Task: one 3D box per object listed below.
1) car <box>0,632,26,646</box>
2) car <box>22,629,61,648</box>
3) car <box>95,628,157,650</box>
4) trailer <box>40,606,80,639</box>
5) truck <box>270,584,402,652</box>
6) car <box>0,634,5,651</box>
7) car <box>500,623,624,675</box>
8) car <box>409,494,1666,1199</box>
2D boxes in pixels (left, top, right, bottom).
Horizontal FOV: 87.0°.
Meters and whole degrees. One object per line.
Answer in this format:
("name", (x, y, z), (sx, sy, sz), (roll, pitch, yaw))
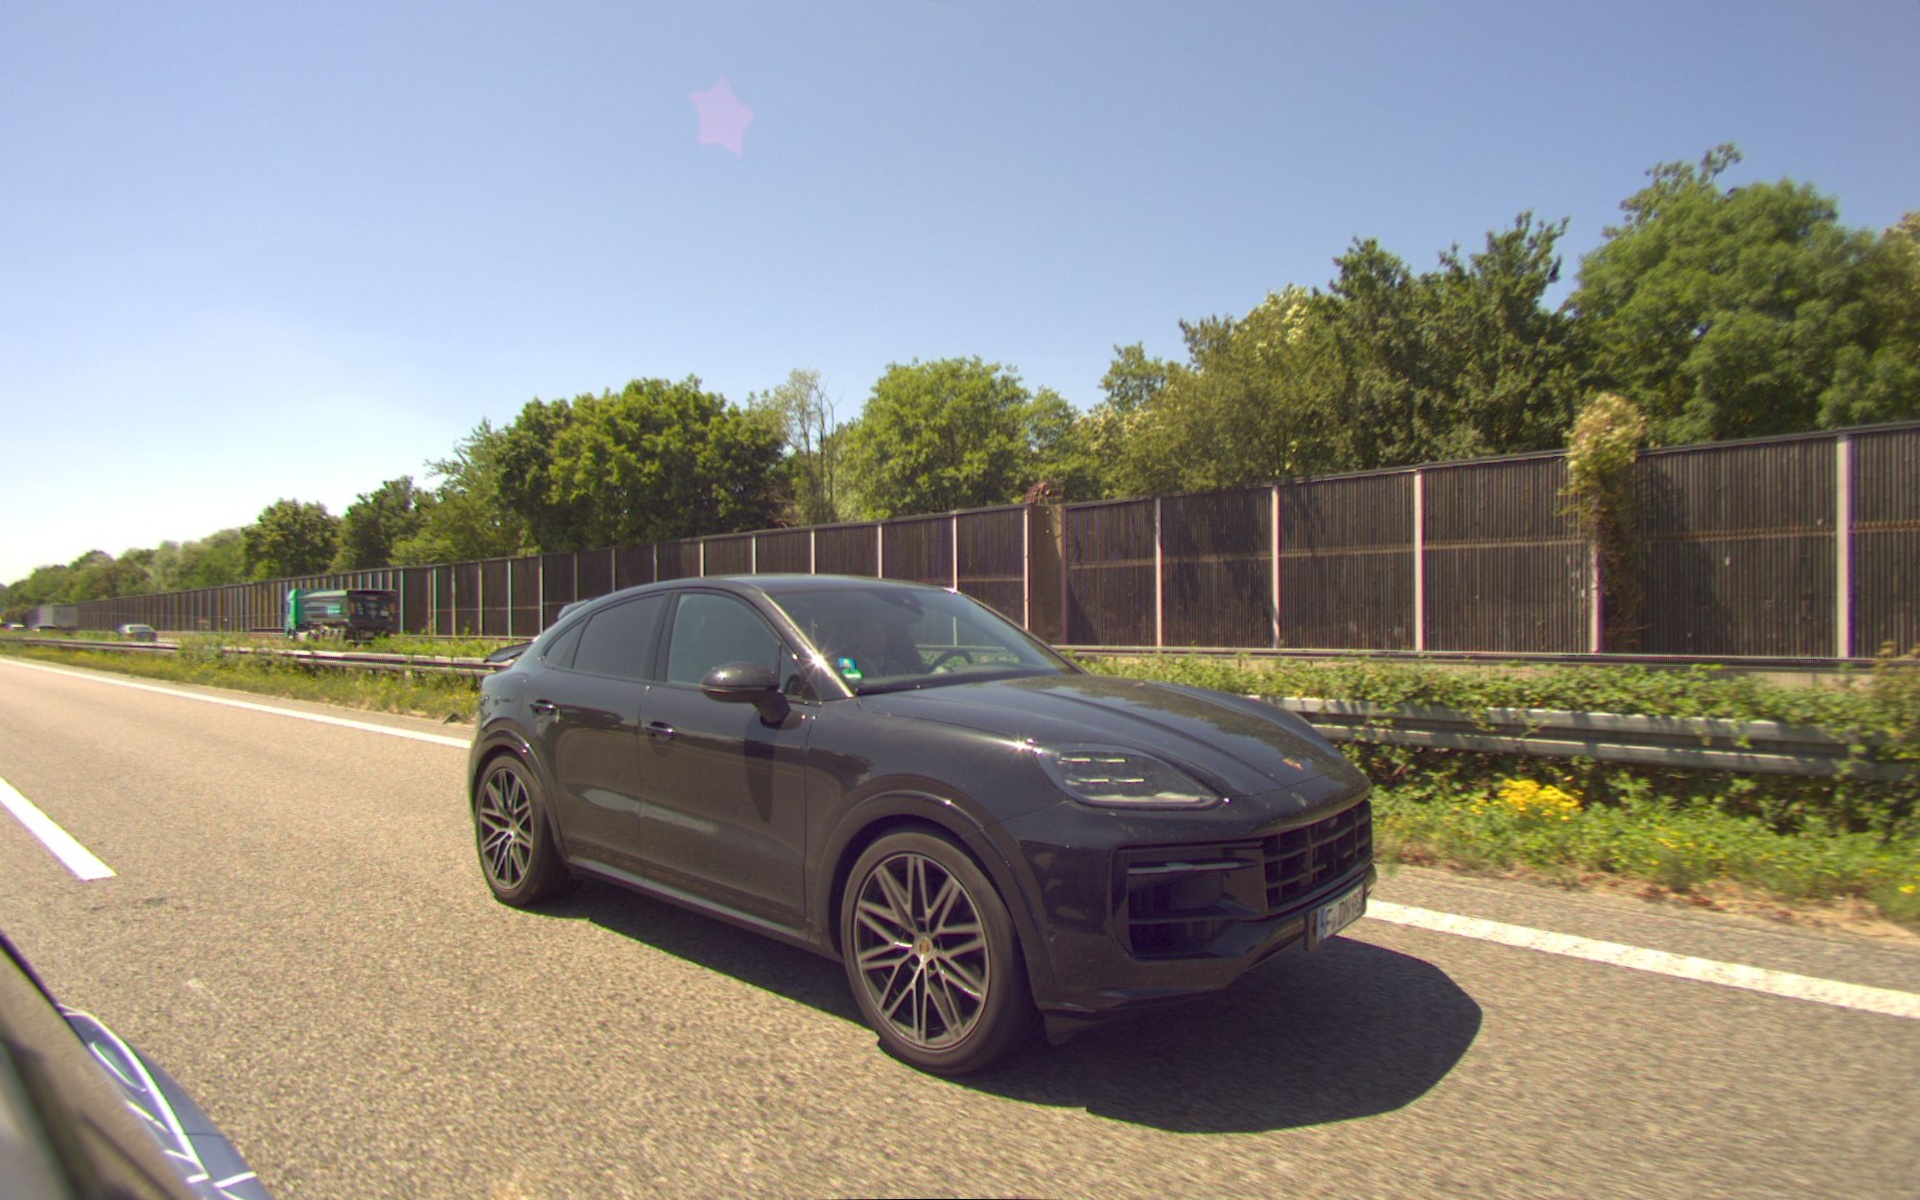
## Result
("car", (-123.463, 5.050, 131.923), (4.530, 1.733, 1.973), (-1, -2, 41))
("car", (-76.586, 3.191, 84.386), (4.457, 1.457, 1.937), (-1, -2, 41))
("car", (-56.552, 2.603, 68.594), (5.071, 1.452, 1.849), (-1, -2, 34))
("trailer", (-119.018, 3.025, 133.728), (14.270, 4.118, 2.468), (-1, -2, 43))
("truck", (-37.318, 1.095, 60.268), (12.360, 3.703, 3.058), (-1, -2, 41))
("car", (-111.725, 4.932, 116.602), (3.998, 1.962, 1.973), (-2, 1, 41))
("car", (-13.205, 1.571, 33.468), (4.490, 1.602, 1.973), (-1, -2, 41))
("car", (-0.362, 0.674, 4.696), (5.769, 1.637, 2.022), (-2, -1, 41))
